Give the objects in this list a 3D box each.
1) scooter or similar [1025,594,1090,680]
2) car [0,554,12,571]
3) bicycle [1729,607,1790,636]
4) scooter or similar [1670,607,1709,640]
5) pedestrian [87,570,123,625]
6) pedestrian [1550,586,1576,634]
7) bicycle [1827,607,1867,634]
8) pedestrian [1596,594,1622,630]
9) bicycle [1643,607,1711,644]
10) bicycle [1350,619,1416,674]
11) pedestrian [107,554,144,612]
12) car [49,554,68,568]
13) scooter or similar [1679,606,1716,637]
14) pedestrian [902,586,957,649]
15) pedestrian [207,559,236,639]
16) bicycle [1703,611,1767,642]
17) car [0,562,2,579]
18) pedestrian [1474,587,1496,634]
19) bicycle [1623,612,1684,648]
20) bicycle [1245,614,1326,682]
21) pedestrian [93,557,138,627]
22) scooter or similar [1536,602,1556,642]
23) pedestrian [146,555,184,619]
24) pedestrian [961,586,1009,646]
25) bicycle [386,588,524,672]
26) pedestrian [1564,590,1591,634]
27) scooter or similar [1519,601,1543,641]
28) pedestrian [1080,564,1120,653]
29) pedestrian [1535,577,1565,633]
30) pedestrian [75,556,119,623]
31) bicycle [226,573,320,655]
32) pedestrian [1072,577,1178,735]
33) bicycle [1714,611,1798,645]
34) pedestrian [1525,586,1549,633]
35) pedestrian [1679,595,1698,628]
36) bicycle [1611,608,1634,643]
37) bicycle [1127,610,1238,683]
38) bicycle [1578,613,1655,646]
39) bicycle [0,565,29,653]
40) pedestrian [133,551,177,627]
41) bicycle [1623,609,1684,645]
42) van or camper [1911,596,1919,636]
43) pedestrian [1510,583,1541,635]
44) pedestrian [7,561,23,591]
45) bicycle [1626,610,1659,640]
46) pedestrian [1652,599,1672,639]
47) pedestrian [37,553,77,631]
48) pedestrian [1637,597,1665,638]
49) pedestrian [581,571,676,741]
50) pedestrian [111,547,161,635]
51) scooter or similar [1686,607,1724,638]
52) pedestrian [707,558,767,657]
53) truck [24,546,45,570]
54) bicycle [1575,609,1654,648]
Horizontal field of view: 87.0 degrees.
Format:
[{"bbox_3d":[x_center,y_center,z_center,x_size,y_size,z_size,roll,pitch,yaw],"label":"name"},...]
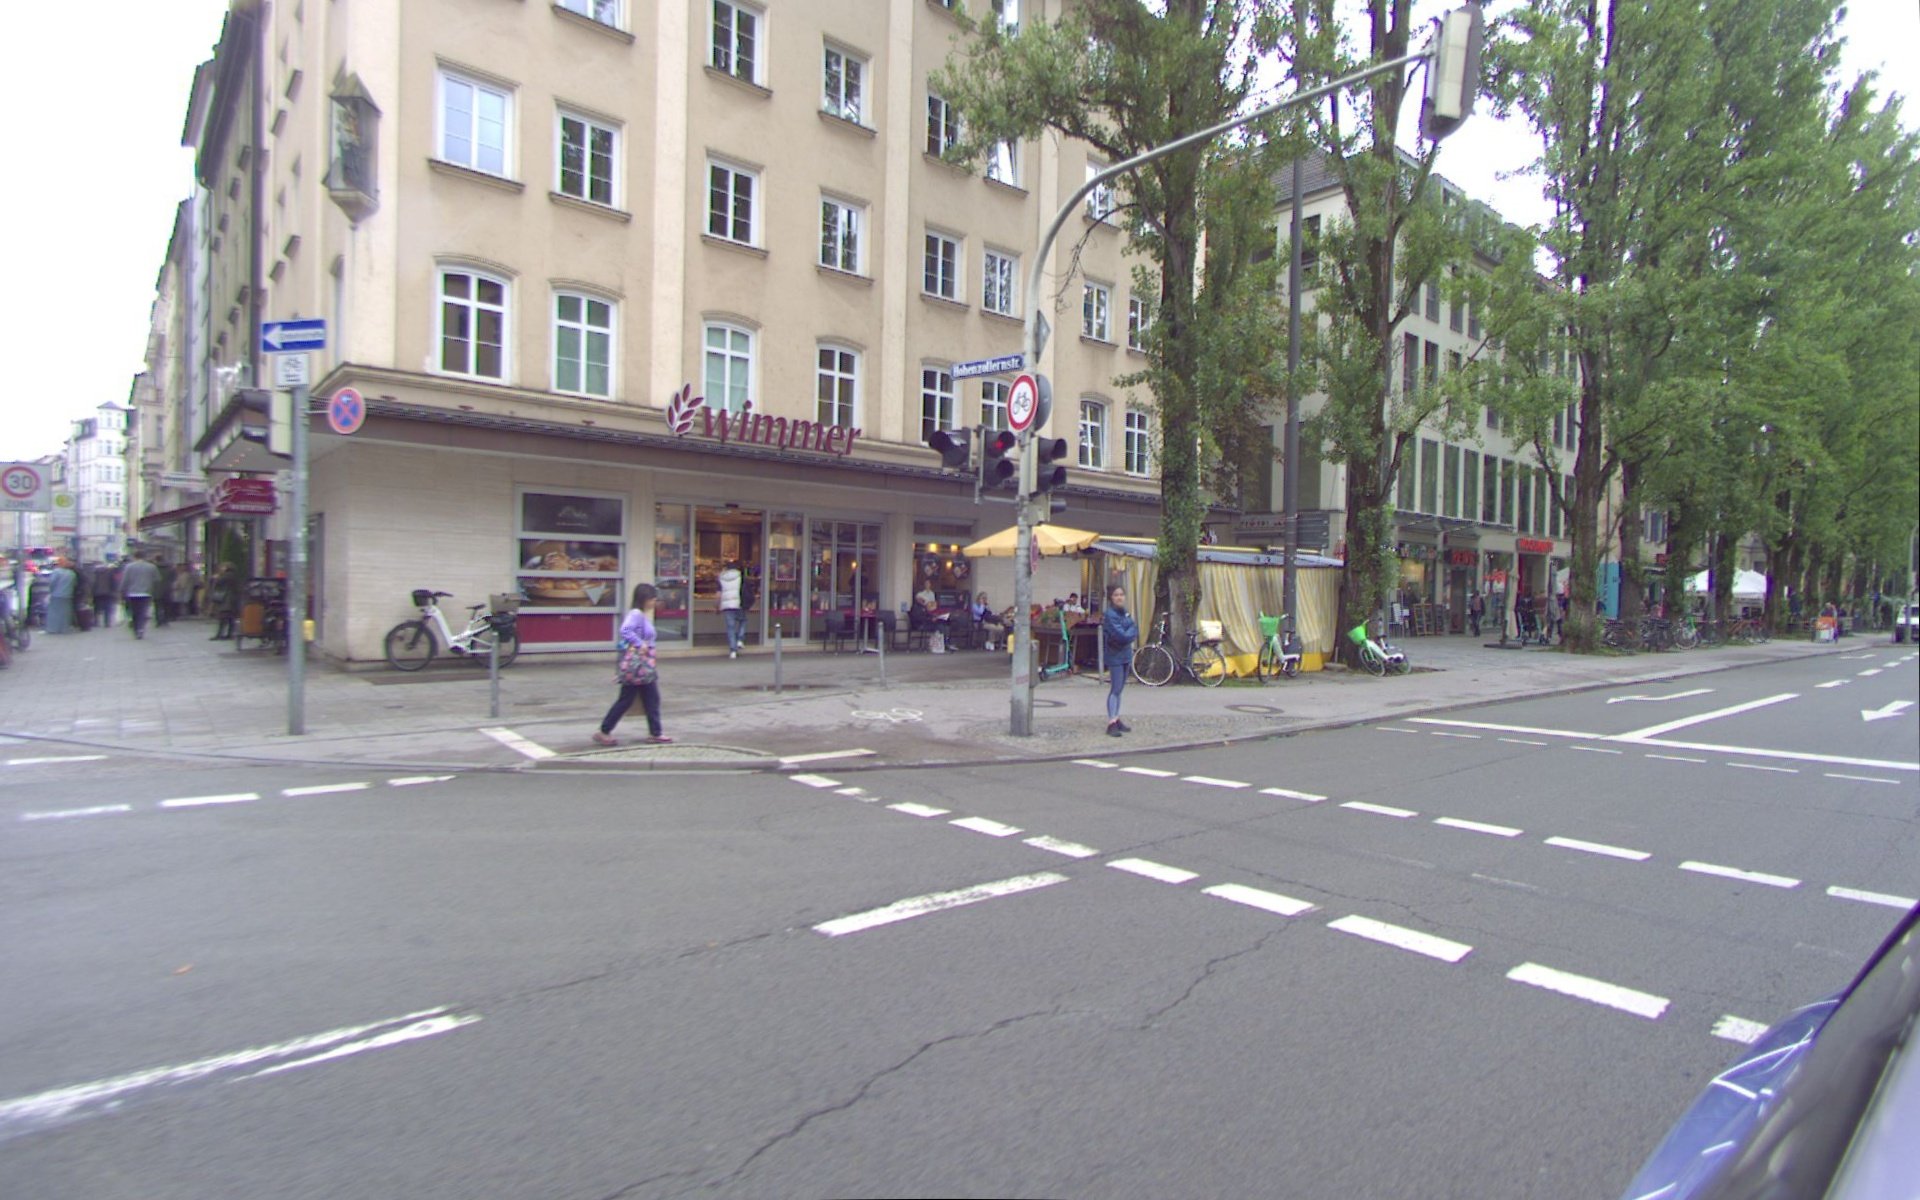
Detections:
[{"bbox_3d":[1.527,0.548,15.695,0.405,1.259,1.355,1,0,32],"label":"scooter or similar"},{"bbox_3d":[-92.097,-3.620,97.096,1.556,1.530,3.200,1,1,-42],"label":"car"},{"bbox_3d":[33.495,0.897,42.424,0.674,1.141,1.901,1,1,-40],"label":"bicycle"},{"bbox_3d":[27.104,0.874,37.618,0.395,1.184,1.247,0,1,-12],"label":"scooter or similar"},{"bbox_3d":[-25.672,-0.068,30.398,0.804,1.629,0.867,0,0,-40],"label":"pedestrian"},{"bbox_3d":[23.082,0.382,38.753,0.662,1.807,0.658,1,0,-40],"label":"pedestrian"},{"bbox_3d":[48.724,1.111,55.613,0.819,1.429,2.580,1,0,22],"label":"bicycle"},{"bbox_3d":[30.561,0.562,47.670,0.998,1.624,0.764,1,0,-41],"label":"pedestrian"},{"bbox_3d":[24.680,0.865,34.839,1.864,1.149,0.335,2,1,41],"label":"bicycle"},{"bbox_3d":[8.278,0.885,19.771,1.740,0.988,0.509,1,1,-43],"label":"bicycle"},{"bbox_3d":[-23.951,-0.475,29.059,0.804,1.629,0.867,0,0,-40],"label":"pedestrian"},{"bbox_3d":[-103.383,-4.512,116.103,1.556,1.530,3.200,1,1,-42],"label":"car"},{"bbox_3d":[28.811,0.839,39.544,1.220,1.184,0.307,0,0,-2],"label":"scooter or similar"},{"bbox_3d":[-0.636,0.350,21.022,0.687,1.213,0.871,1,5,-40],"label":"pedestrian"},{"bbox_3d":[-14.930,-0.022,20.452,0.437,1.577,0.583,0,-1,-40],"label":"pedestrian"},{"bbox_3d":[28.696,0.979,37.495,0.385,1.022,1.847,1,2,-32],"label":"bicycle"},{"bbox_3d":[-87.768,-2.659,91.501,1.556,1.530,3.200,1,1,-42],"label":"car"},{"bbox_3d":[20.172,0.394,38.906,0.630,1.790,0.547,1,-1,-42],"label":"pedestrian"},{"bbox_3d":[23.307,1.000,34.037,1.669,1.131,0.282,2,1,37],"label":"bicycle"},{"bbox_3d":[5.540,0.790,17.176,1.740,1.061,0.509,1,1,-43],"label":"bicycle"},{"bbox_3d":[-20.153,-0.190,24.171,0.804,1.629,0.867,0,0,-40],"label":"pedestrian"},{"bbox_3d":[19.218,0.709,33.197,1.018,1.289,0.247,1,0,-41],"label":"scooter or similar"},{"bbox_3d":[-22.049,-0.358,28.057,0.804,1.717,0.867,0,0,-40],"label":"pedestrian"},{"bbox_3d":[0.541,0.345,22.149,0.687,1.280,0.777,1,0,-41],"label":"pedestrian"},{"bbox_3d":[-7.463,0.417,15.005,1.781,1.185,0.435,0,0,-43],"label":"bicycle"},{"bbox_3d":[26.613,0.514,43.634,0.806,1.877,0.753,1,0,-40],"label":"pedestrian"},{"bbox_3d":[18.922,0.689,33.527,1.018,1.289,0.330,1,0,-41],"label":"scooter or similar"},{"bbox_3d":[2.731,0.159,19.747,0.526,1.694,0.542,1,0,-34],"label":"pedestrian"},{"bbox_3d":[21.301,0.190,36.521,0.709,1.996,0.658,2,0,-38],"label":"pedestrian"},{"bbox_3d":[-21.372,-0.261,25.088,0.804,1.629,0.867,0,0,-40],"label":"pedestrian"},{"bbox_3d":[-11.682,0.217,17.158,0.982,1.268,2.975,0,0,-41],"label":"bicycle"},{"bbox_3d":[1.817,0.578,11.103,0.766,1.630,0.850,2,1,45],"label":"pedestrian"},{"bbox_3d":[32.512,1.122,41.374,0.948,1.230,2.576,1,1,-40],"label":"bicycle"},{"bbox_3d":[22.536,0.367,39.522,0.662,1.807,0.566,1,0,-40],"label":"pedestrian"},{"bbox_3d":[38.127,0.596,52.938,0.680,1.685,0.667,1,0,-42],"label":"pedestrian"},{"bbox_3d":[21.529,0.806,32.885,0.432,1.074,1.977,2,1,38],"label":"bicycle"},{"bbox_3d":[3.495,0.717,15.830,1.774,1.084,0.406,0,-4,-25],"label":"bicycle"},{"bbox_3d":[20.327,0.903,31.385,1.991,0.957,0.282,1,0,34],"label":"bicycle"},{"bbox_3d":[-16.069,0.123,17.028,0.472,1.404,1.832,1,1,-39],"label":"bicycle"},{"bbox_3d":[-19.509,-0.270,24.519,0.804,1.790,0.867,0,0,-40],"label":"pedestrian"},{"bbox_3d":[23.529,0.909,34.346,1.657,1.121,0.391,2,1,38],"label":"bicycle"},{"bbox_3d":[48.240,0.794,49.692,4.485,1.929,1.794,1,0,-41],"label":"van or camper"},{"bbox_3d":[20.671,0.333,36.983,0.889,1.874,0.658,1,0,-39],"label":"pedestrian"},{"bbox_3d":[-50.307,-1.258,53.876,0.572,1.571,0.670,1,0,-41],"label":"pedestrian"},{"bbox_3d":[25.668,0.939,38.066,1.968,1.076,0.393,1,2,-38],"label":"bicycle"},{"bbox_3d":[31.056,0.835,44.776,0.684,1.764,0.566,1,0,-38],"label":"pedestrian"},{"bbox_3d":[-19.655,-0.166,22.026,0.573,1.665,0.445,0,-1,-32],"label":"pedestrian"},{"bbox_3d":[28.366,0.706,41.521,0.779,1.608,0.711,1,2,-42],"label":"pedestrian"},{"bbox_3d":[-3.111,0.496,9.558,0.608,1.536,0.769,0,2,3],"label":"pedestrian"},{"bbox_3d":[-17.147,-0.182,21.075,0.663,1.790,1.003,0,0,-32],"label":"pedestrian"},{"bbox_3d":[28.825,0.866,39.172,1.221,1.184,0.286,0,0,1],"label":"scooter or similar"},{"bbox_3d":[-4.001,0.112,18.178,0.845,1.723,0.666,-1,2,-40],"label":"pedestrian"},{"bbox_3d":[-125.825,-5.702,137.615,1.961,3.038,5.478,1,1,-42],"label":"truck"},{"bbox_3d":[20.122,0.866,31.148,1.992,1.096,0.282,2,1,35],"label":"bicycle"}]
